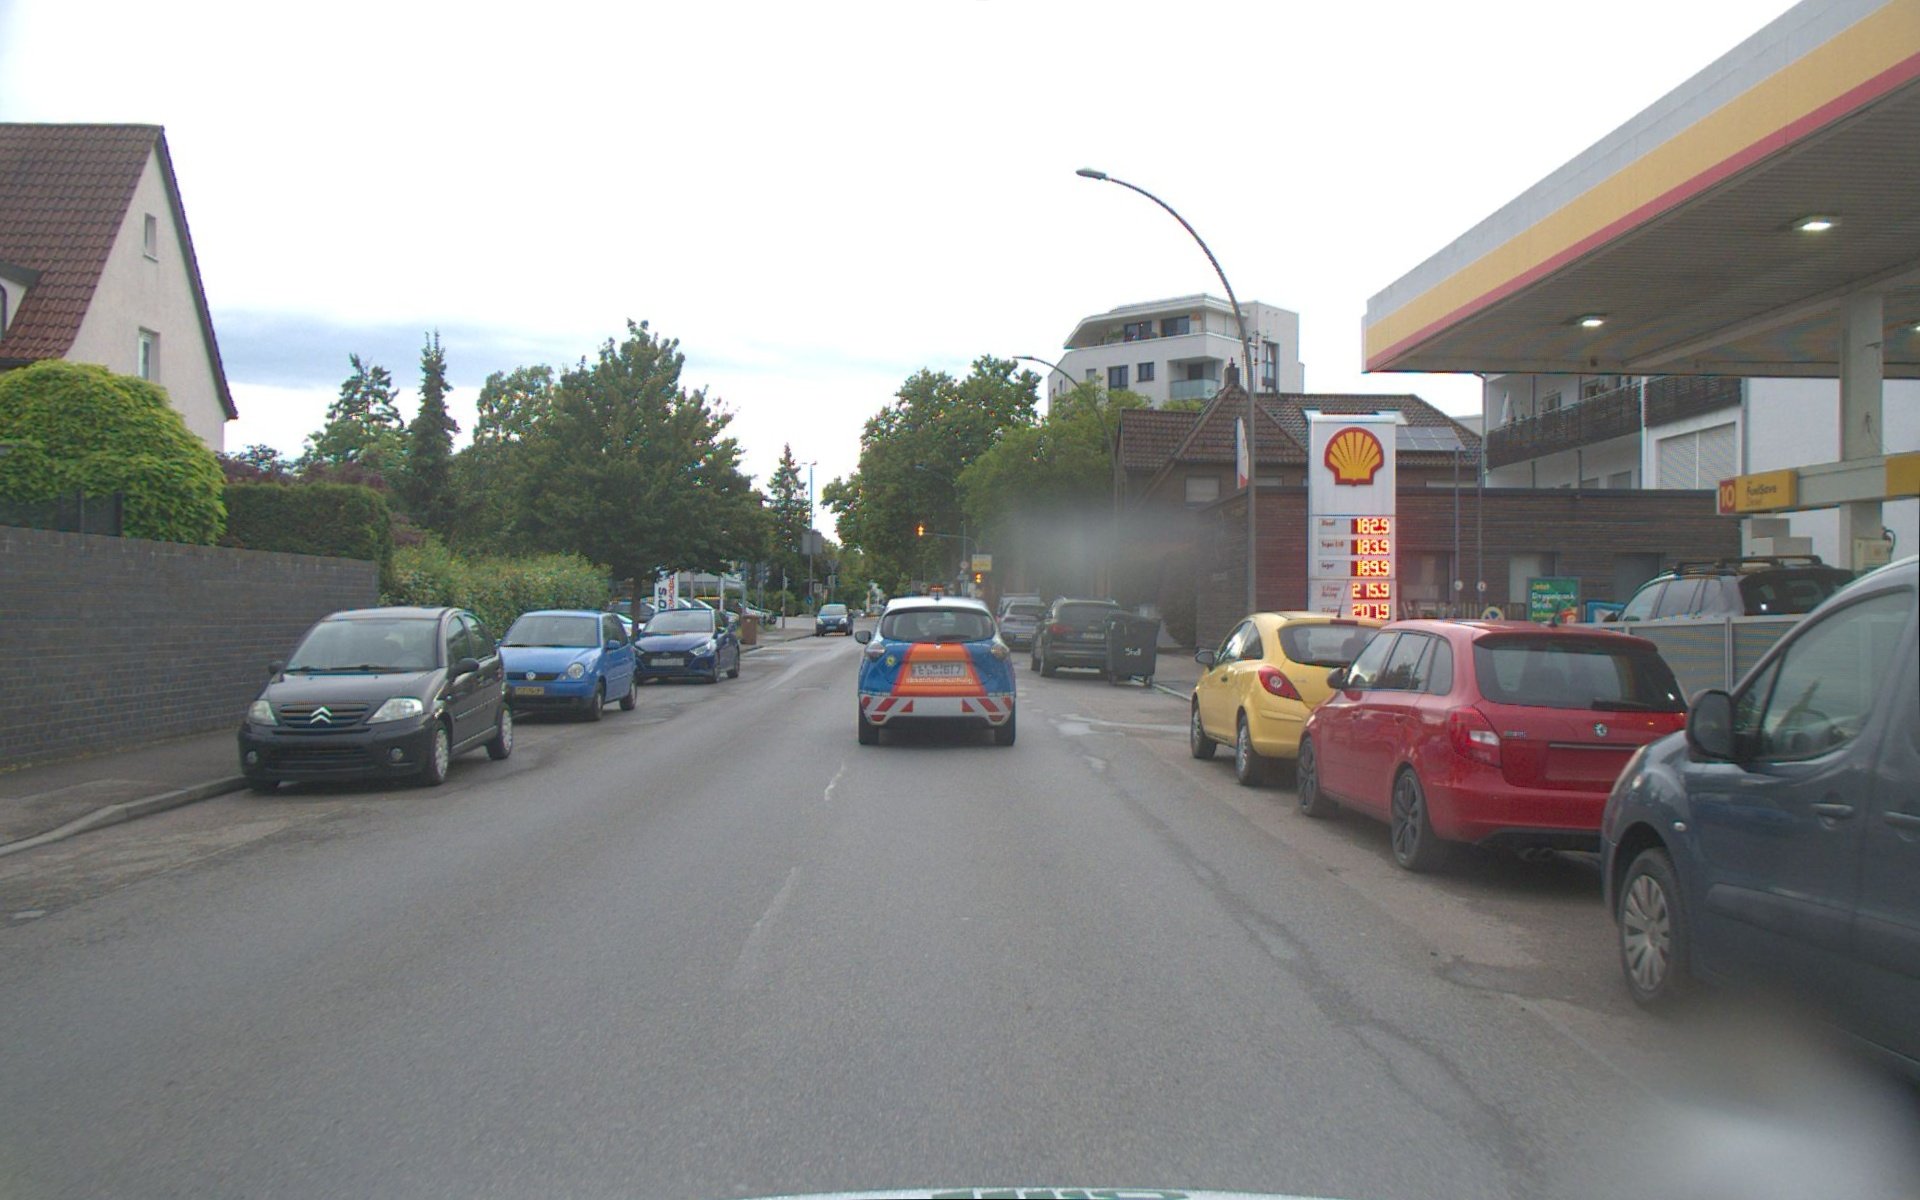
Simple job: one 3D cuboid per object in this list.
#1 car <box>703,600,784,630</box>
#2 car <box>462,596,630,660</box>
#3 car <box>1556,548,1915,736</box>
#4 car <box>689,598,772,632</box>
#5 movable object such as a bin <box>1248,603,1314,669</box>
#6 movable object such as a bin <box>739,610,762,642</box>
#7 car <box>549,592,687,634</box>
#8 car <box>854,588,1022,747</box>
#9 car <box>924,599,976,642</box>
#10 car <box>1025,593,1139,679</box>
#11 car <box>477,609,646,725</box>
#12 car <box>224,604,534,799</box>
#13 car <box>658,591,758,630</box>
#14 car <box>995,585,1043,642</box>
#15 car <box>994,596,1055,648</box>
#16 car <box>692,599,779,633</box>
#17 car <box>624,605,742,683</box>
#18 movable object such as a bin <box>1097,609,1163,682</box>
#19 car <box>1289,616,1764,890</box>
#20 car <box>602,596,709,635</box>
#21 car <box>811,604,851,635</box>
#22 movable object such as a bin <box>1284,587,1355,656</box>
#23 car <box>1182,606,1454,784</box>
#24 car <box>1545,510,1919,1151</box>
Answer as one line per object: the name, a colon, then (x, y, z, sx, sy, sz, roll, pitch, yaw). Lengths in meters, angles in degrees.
car: (-11.272, 0.772, 86.379, 3.904, 1.466, 1.804, 1, 0, 1)
car: (-11.923, 0.798, 47.865, 4.469, 1.821, 1.896, 0, 0, -6)
car: (8.111, 0.392, 17.738, 1.783, 1.790, 3.997, 0, 0, -4)
car: (-11.580, 0.759, 83.577, 3.904, 1.571, 1.804, 1, 0, 1)
movable object such as a bin: (6.810, 0.752, 35.130, 1.080, 1.363, 1.383, 0, 0, -3)
movable object such as a bin: (-7.446, 0.922, 58.853, 0.693, 1.150, 0.735, 1, 0, -1)
car: (-11.559, 0.445, 56.111, 4.287, 1.398, 1.888, 0, 0, -2)
car: (-0.269, 0.673, 18.917, 1.710, 1.608, 3.999, 0, 1, -1)
car: (-0.448, 0.806, 66.827, 1.953, 1.601, 3.999, 2, 1, -2)
car: (2.634, 0.737, 36.749, 2.049, 1.691, 4.558, 2, 1, -1)
car: (-5.454, 0.866, 23.030, 1.514, 1.427, 3.596, -1, 0, -1)
car: (-5.170, 0.822, 15.215, 1.576, 1.532, 3.706, -1, 0, -1)
car: (-11.499, 0.479, 75.552, 4.259, 1.720, 1.959, 1, 0, -1)
car: (2.265, 0.489, 63.937, 1.741, 2.064, 4.755, 2, 1, 1)
car: (2.212, 0.746, 57.806, 1.828, 1.694, 4.319, 1, 0, -2)
car: (-10.936, 0.766, 80.685, 3.904, 1.571, 1.804, 1, 0, 1)
car: (-5.524, 0.844, 33.428, 1.770, 1.427, 3.943, -1, 0, -1)
movable object such as a bin: (3.402, 0.898, 33.279, 1.104, 1.413, 1.503, 0, 0, -3)
car: (3.403, 0.832, 10.773, 1.623, 1.400, 4.023, 0, 0, -2)
car: (-12.143, 0.616, 66.065, 3.905, 1.489, 1.839, 1, 0, -1)
car: (-6.174, 0.901, 79.624, 1.593, 1.458, 3.684, 0, 0, 1)
movable object such as a bin: (7.281, 0.432, 33.541, 1.080, 1.363, 1.383, 0, 0, -3)
car: (3.183, 0.782, 15.420, 1.623, 1.426, 3.800, 0, 0, -2)
car: (3.471, 0.667, 5.058, 1.623, 1.768, 4.443, 3, 0, -2)
